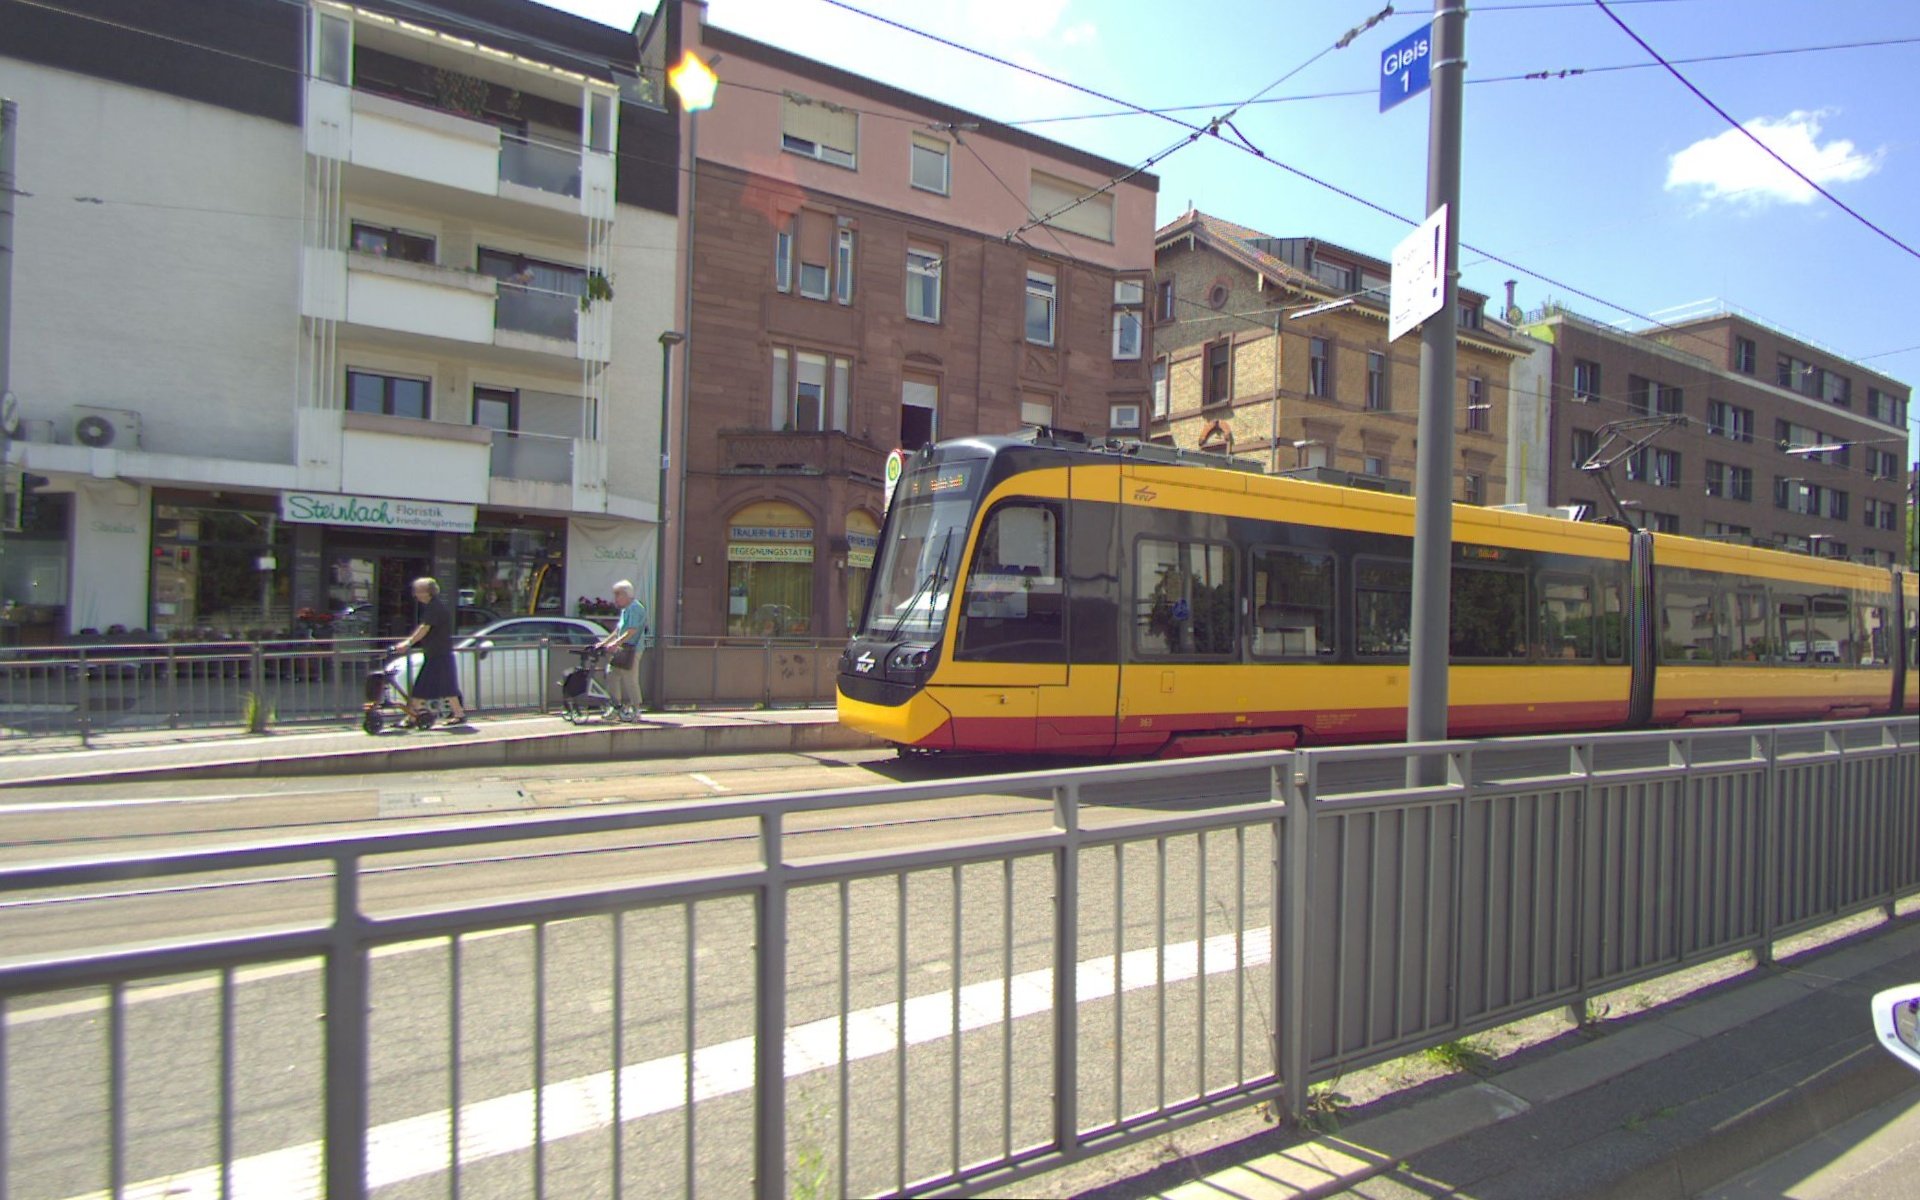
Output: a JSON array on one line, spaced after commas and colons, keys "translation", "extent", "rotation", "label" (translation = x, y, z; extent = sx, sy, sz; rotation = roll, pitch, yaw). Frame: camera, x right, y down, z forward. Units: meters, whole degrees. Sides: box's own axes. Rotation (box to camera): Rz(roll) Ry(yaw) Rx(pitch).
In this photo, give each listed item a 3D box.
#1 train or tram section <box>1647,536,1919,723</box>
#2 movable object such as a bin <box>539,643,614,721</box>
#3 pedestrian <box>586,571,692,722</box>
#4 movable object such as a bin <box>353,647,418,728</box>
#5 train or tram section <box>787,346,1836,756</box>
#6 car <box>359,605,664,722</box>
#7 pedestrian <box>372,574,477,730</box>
[{"translation": [22.878, 0.973, 25.001], "extent": [16.166, 3.614, 3.218], "rotation": [3, -2, -32], "label": "train or tram section"}, {"translation": [-4.164, 0.877, 10.896], "extent": [0.613, 0.791, 0.671], "rotation": [3, -2, -32], "label": "movable object such as a bin"}, {"translation": [-3.550, 0.513, 11.087], "extent": [0.910, 1.581, 0.781], "rotation": [3, -2, -31], "label": "pedestrian"}, {"translation": [-6.016, 0.906, 10.512], "extent": [0.532, 0.791, 0.671], "rotation": [2, -2, -32], "label": "movable object such as a bin"}, {"translation": [7.507, 0.072, 15.541], "extent": [20.272, 3.614, 3.234], "rotation": [3, -2, -32], "label": "train or tram section"}, {"translation": [-6.330, 0.911, 14.337], "extent": [3.743, 1.475, 1.644], "rotation": [3, -3, -29], "label": "car"}, {"translation": [-5.738, 0.548, 10.760], "extent": [0.910, 1.581, 0.781], "rotation": [2, -1, -31], "label": "pedestrian"}]
